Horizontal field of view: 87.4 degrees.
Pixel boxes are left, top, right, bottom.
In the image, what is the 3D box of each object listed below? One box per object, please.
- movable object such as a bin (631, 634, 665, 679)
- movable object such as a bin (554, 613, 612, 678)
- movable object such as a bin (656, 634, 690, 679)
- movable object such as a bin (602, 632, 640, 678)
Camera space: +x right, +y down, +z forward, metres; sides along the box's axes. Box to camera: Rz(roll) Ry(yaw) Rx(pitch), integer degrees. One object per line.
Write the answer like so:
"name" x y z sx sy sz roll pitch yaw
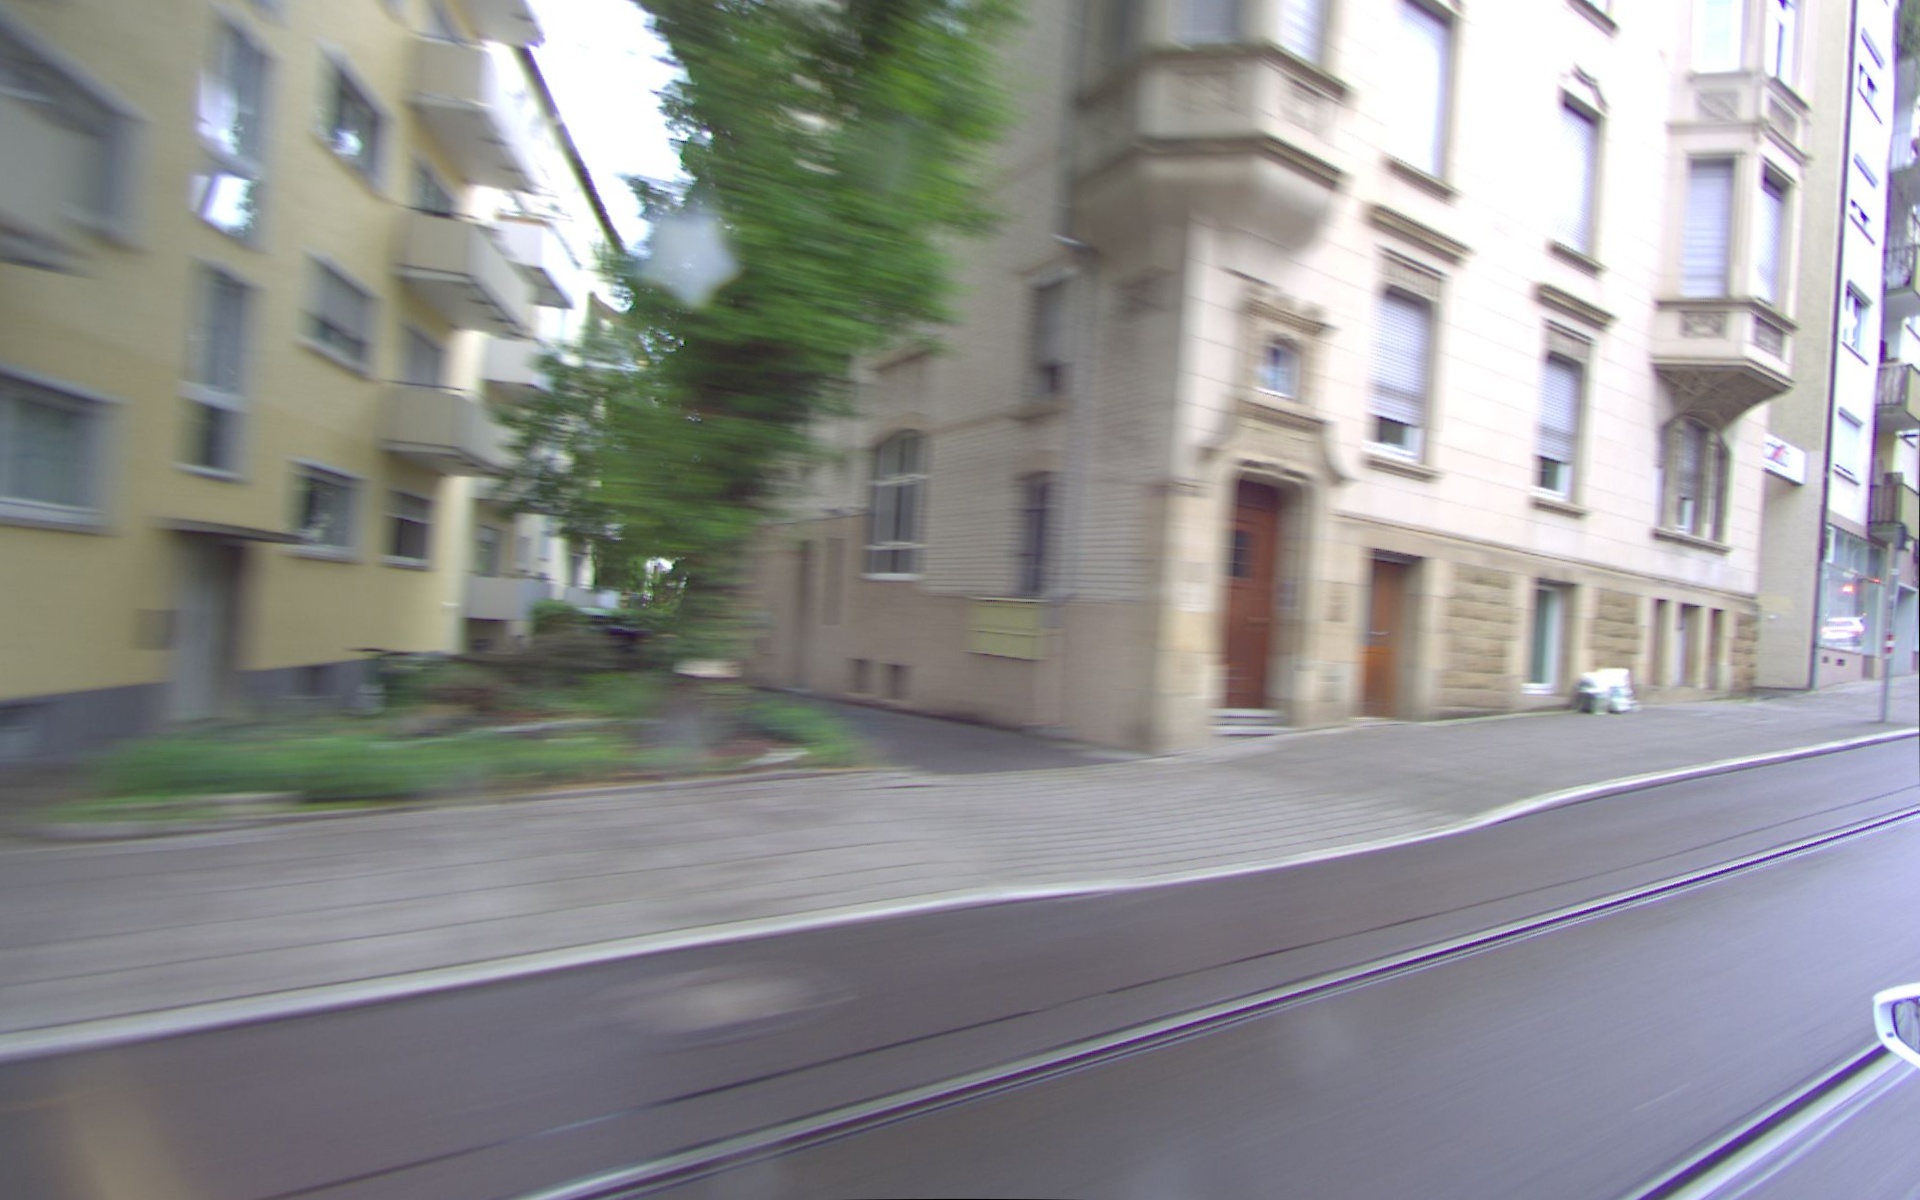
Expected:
"movable object such as a bin" -7.752 1.393 24.980 0.576 1.048 0.691 5 -1 -33
"movable object such as a bin" -9.013 1.083 24.026 1.030 1.450 0.884 5 -1 -34
"movable object such as a bin" -7.232 1.427 25.306 0.576 1.048 0.691 5 -1 -33
"movable object such as a bin" -8.316 1.343 24.614 0.652 1.048 0.736 5 -1 -33
